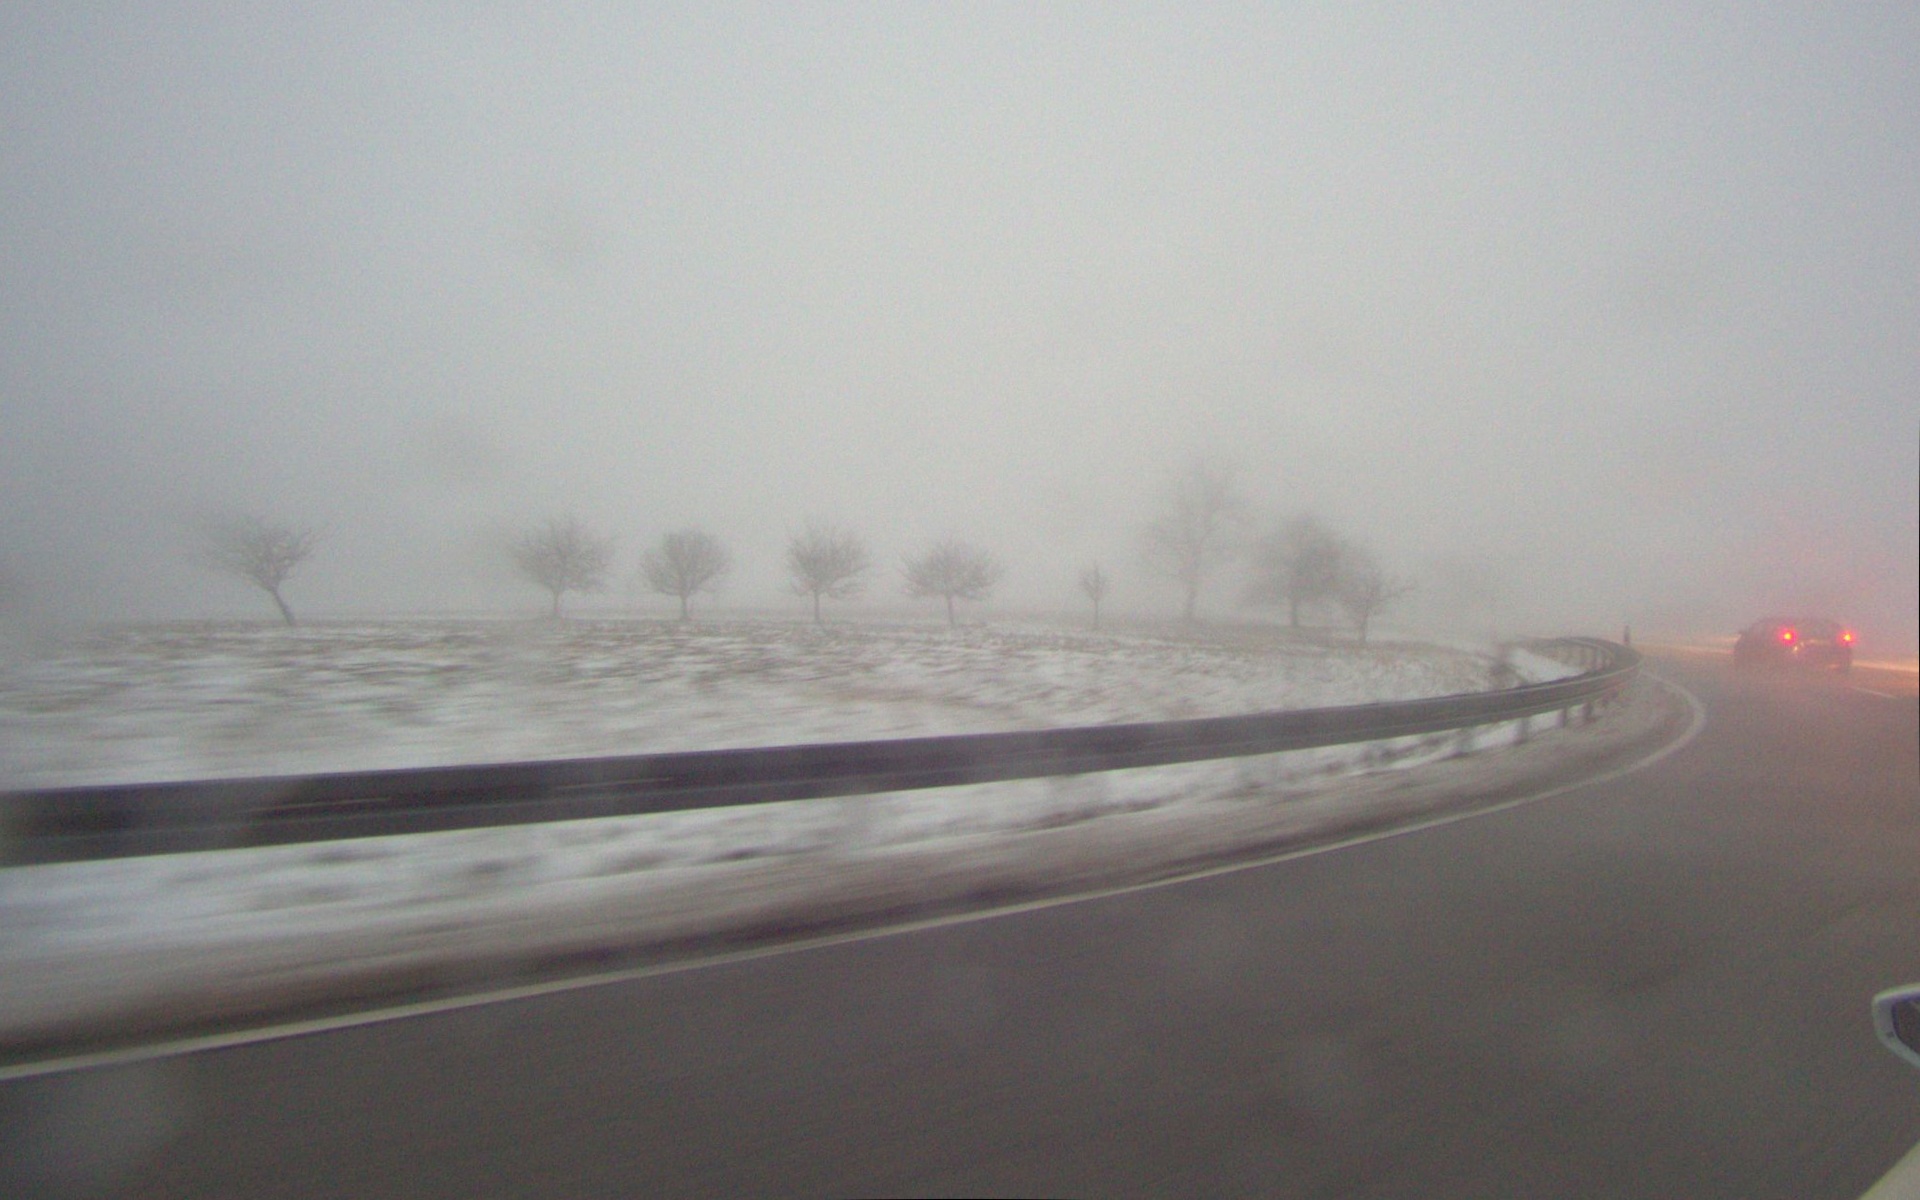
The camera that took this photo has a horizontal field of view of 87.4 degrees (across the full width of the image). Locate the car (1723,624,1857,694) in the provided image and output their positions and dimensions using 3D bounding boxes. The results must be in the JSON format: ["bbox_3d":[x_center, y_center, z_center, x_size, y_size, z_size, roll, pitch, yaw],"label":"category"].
[{"bbox_3d":[23.091,1.589,28.134,1.963,1.806,3.997,0,-2,26],"label":"car"}]
